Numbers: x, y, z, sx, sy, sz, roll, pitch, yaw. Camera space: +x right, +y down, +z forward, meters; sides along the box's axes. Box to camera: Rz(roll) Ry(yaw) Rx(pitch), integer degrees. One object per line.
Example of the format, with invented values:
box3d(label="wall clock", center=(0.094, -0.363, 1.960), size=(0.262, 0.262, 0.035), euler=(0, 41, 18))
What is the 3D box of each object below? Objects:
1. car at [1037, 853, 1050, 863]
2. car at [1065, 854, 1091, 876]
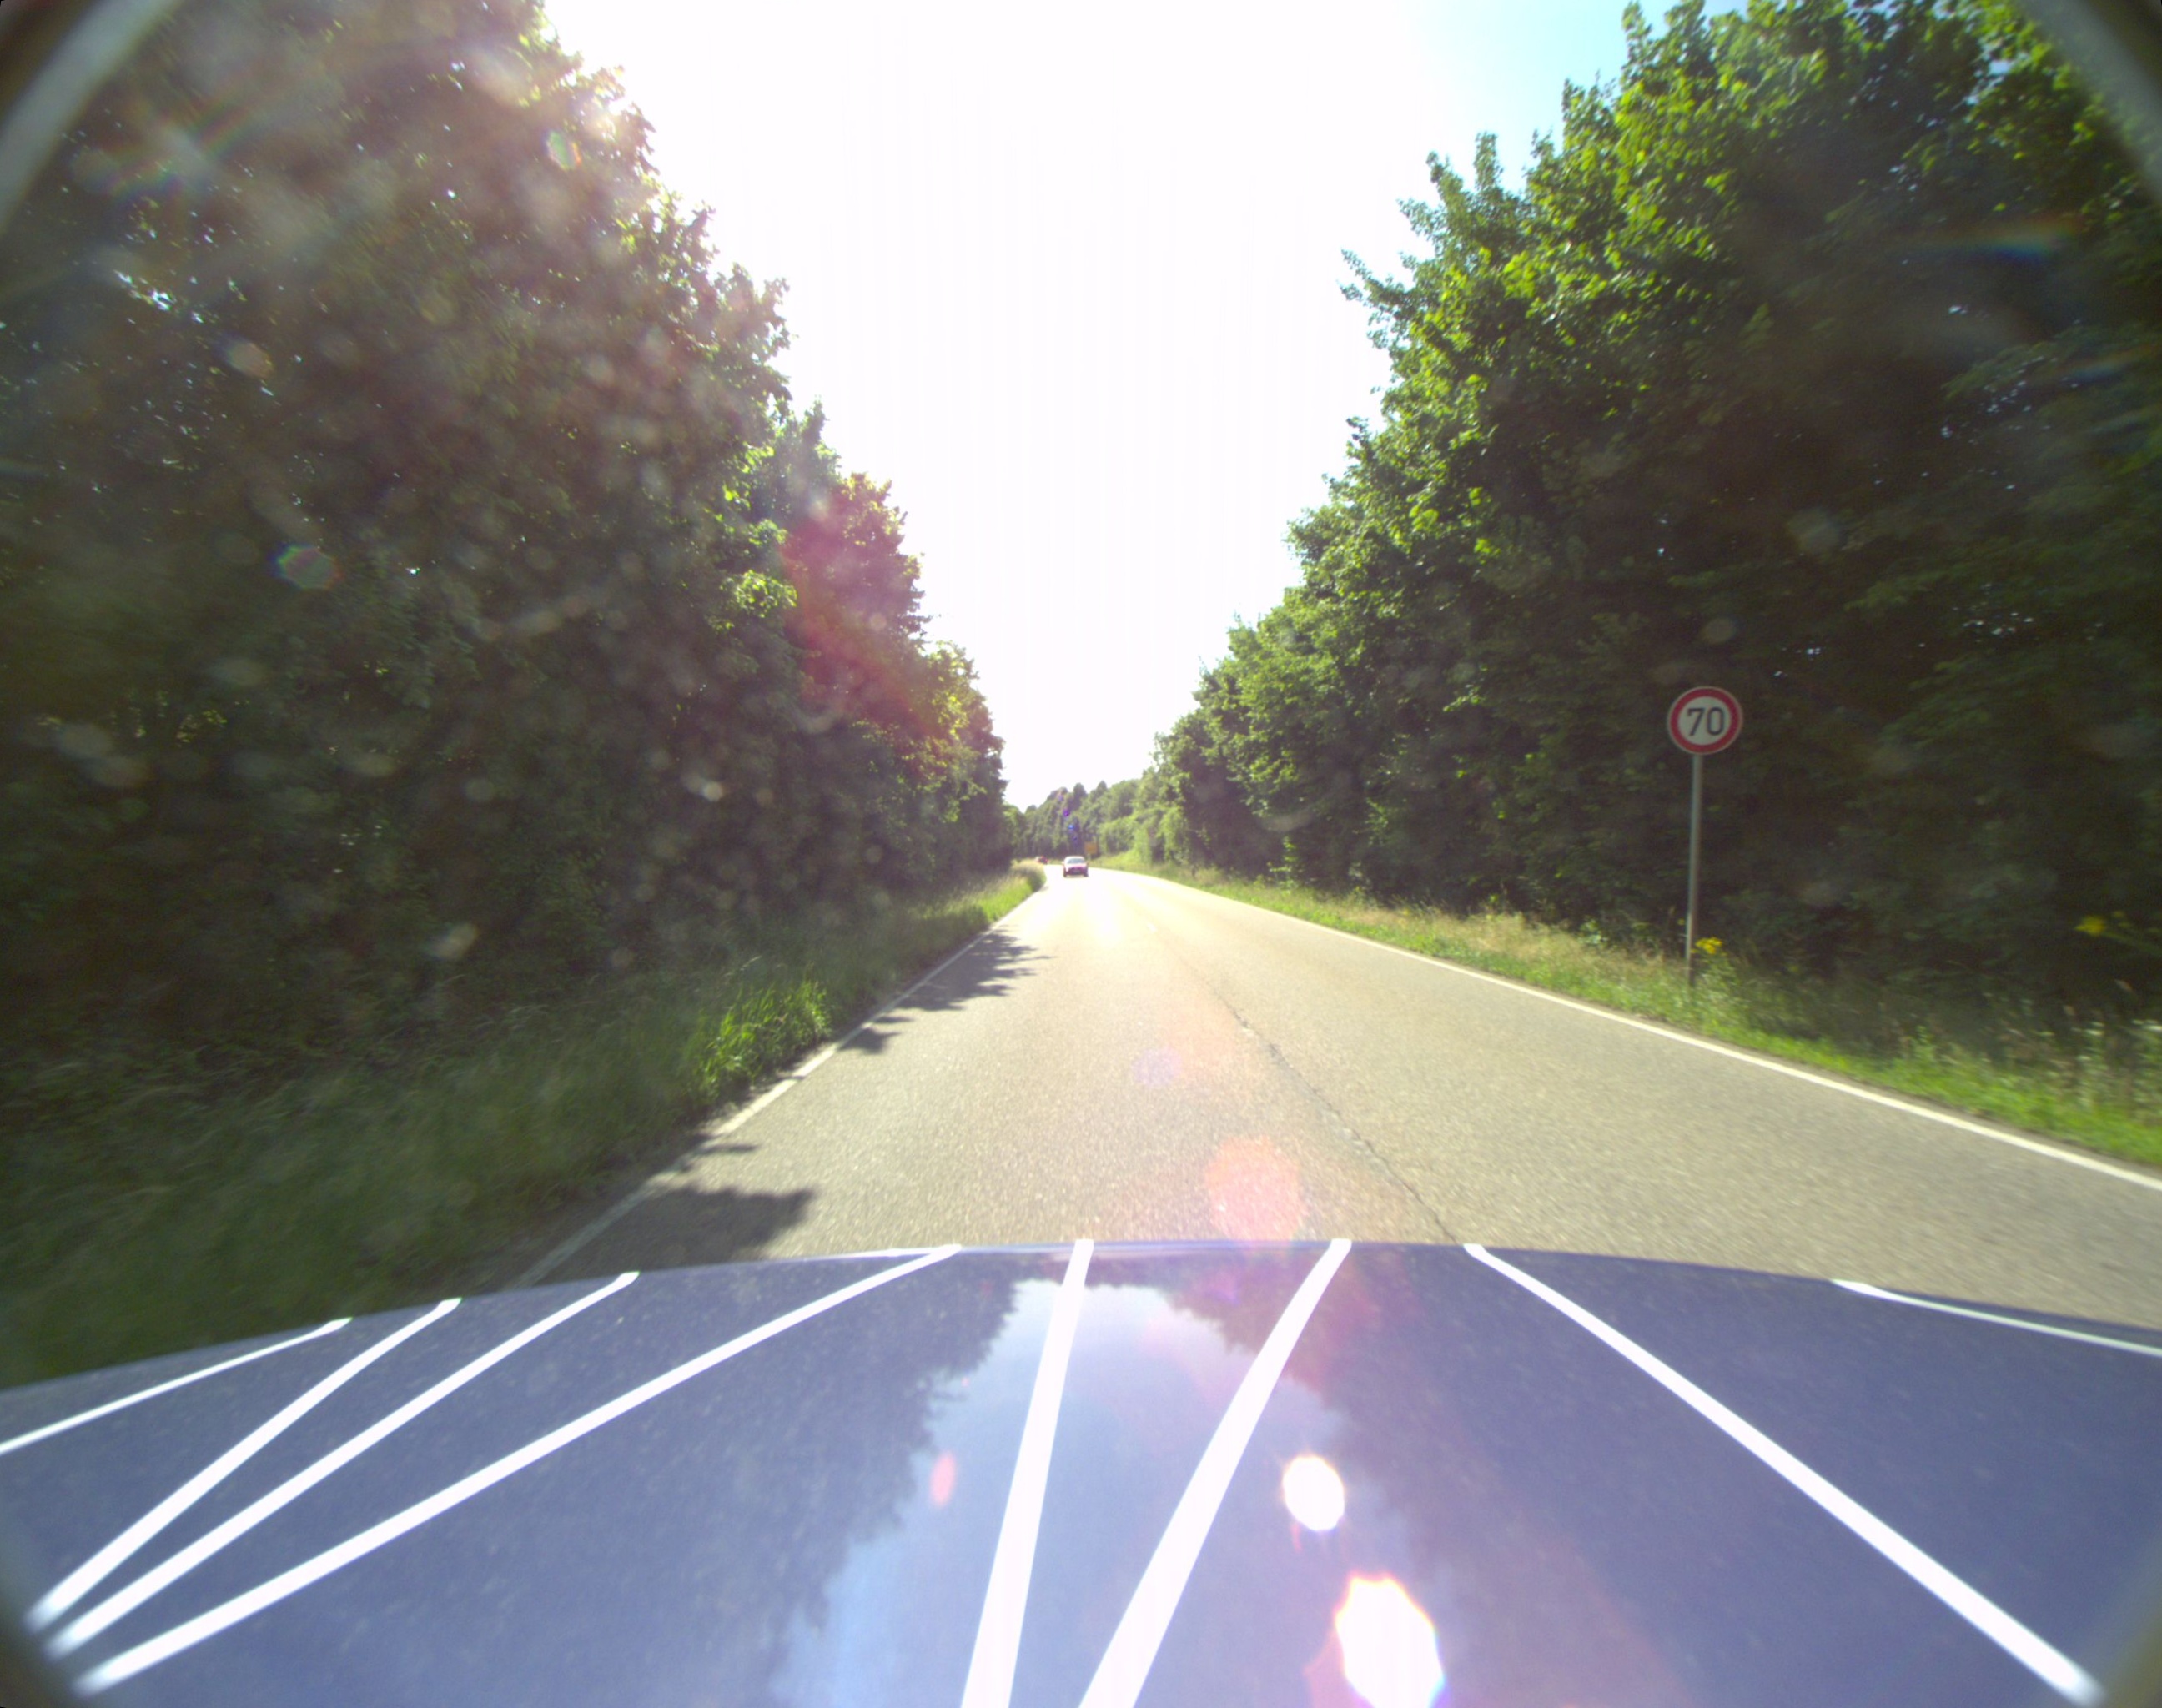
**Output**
box3d(label="car", center=(-6.200, 0.669, 124.821), size=(1.784, 1.517, 4.181), euler=(-1, 0, -8))
box3d(label="car", center=(-0.249, 0.766, 55.305), size=(1.816, 1.488, 4.285), euler=(-1, 0, -1))
